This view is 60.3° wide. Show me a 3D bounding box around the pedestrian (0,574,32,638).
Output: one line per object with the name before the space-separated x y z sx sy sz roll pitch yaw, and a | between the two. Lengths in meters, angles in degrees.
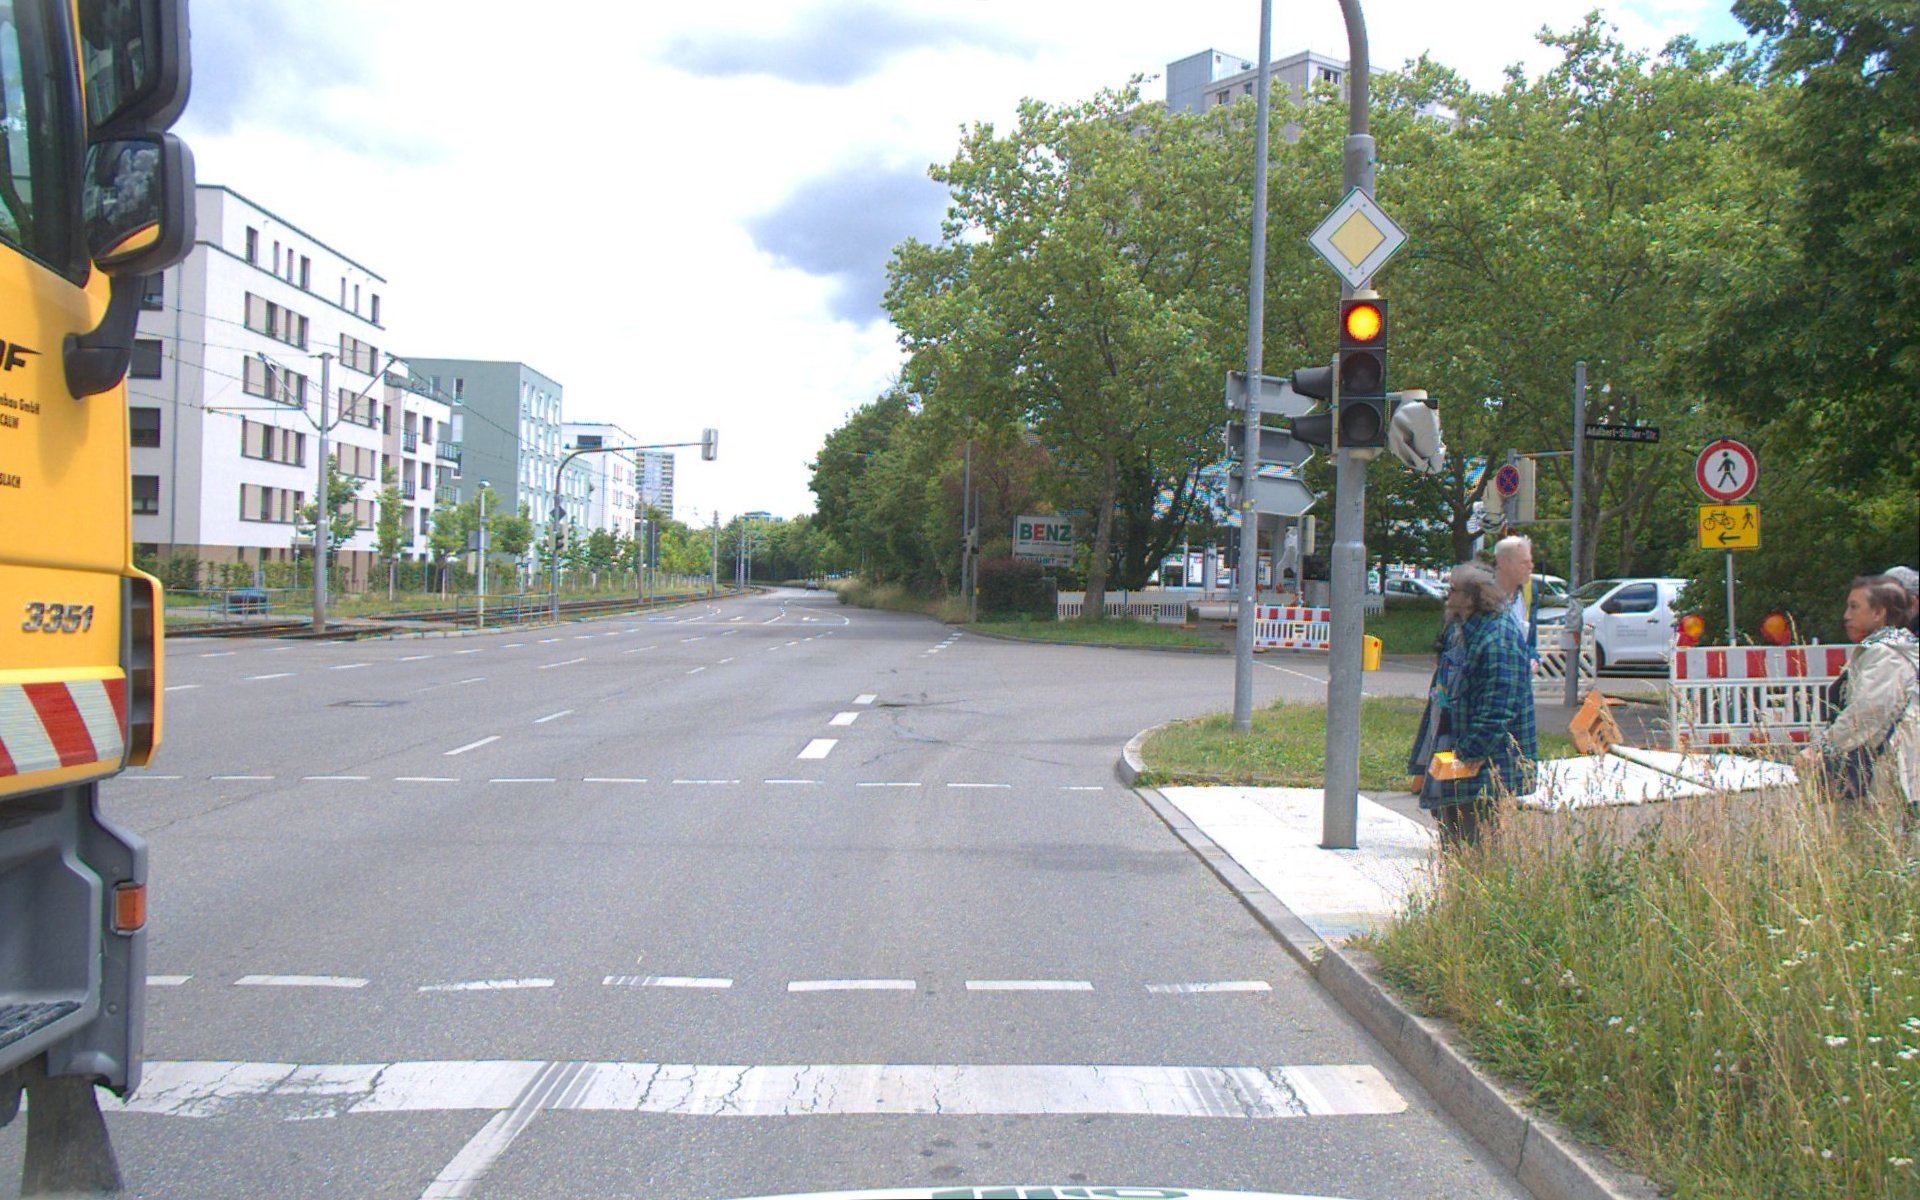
pedestrian | -23.182 0.132 40.246 0.814 1.542 0.636 1 0 -1

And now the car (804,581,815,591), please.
car | -23.314 -2.159 256.459 1.563 1.378 3.996 1 0 -5

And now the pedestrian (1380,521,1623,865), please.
pedestrian | 3.063 0.479 9.352 0.995 1.805 0.942 1 0 43

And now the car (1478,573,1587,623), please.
car | 23.916 -0.106 69.196 1.974 2.049 3.957 0 0 -32

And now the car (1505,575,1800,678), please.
car | 13.439 0.500 32.282 4.976 1.906 1.947 1 0 -5

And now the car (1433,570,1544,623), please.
car | 21.350 -0.160 66.959 1.974 2.049 3.957 0 0 -32

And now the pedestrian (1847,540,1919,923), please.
pedestrian | 4.503 0.573 7.438 0.851 1.663 0.765 1 0 26

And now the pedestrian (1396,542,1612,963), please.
pedestrian | 2.318 0.612 7.138 0.805 1.700 0.734 1 0 13

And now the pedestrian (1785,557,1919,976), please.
pedestrian | 3.945 0.663 6.962 0.807 1.668 0.732 1 0 28

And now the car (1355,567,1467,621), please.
car | 17.508 -0.239 64.322 1.974 2.049 3.957 0 0 -32
